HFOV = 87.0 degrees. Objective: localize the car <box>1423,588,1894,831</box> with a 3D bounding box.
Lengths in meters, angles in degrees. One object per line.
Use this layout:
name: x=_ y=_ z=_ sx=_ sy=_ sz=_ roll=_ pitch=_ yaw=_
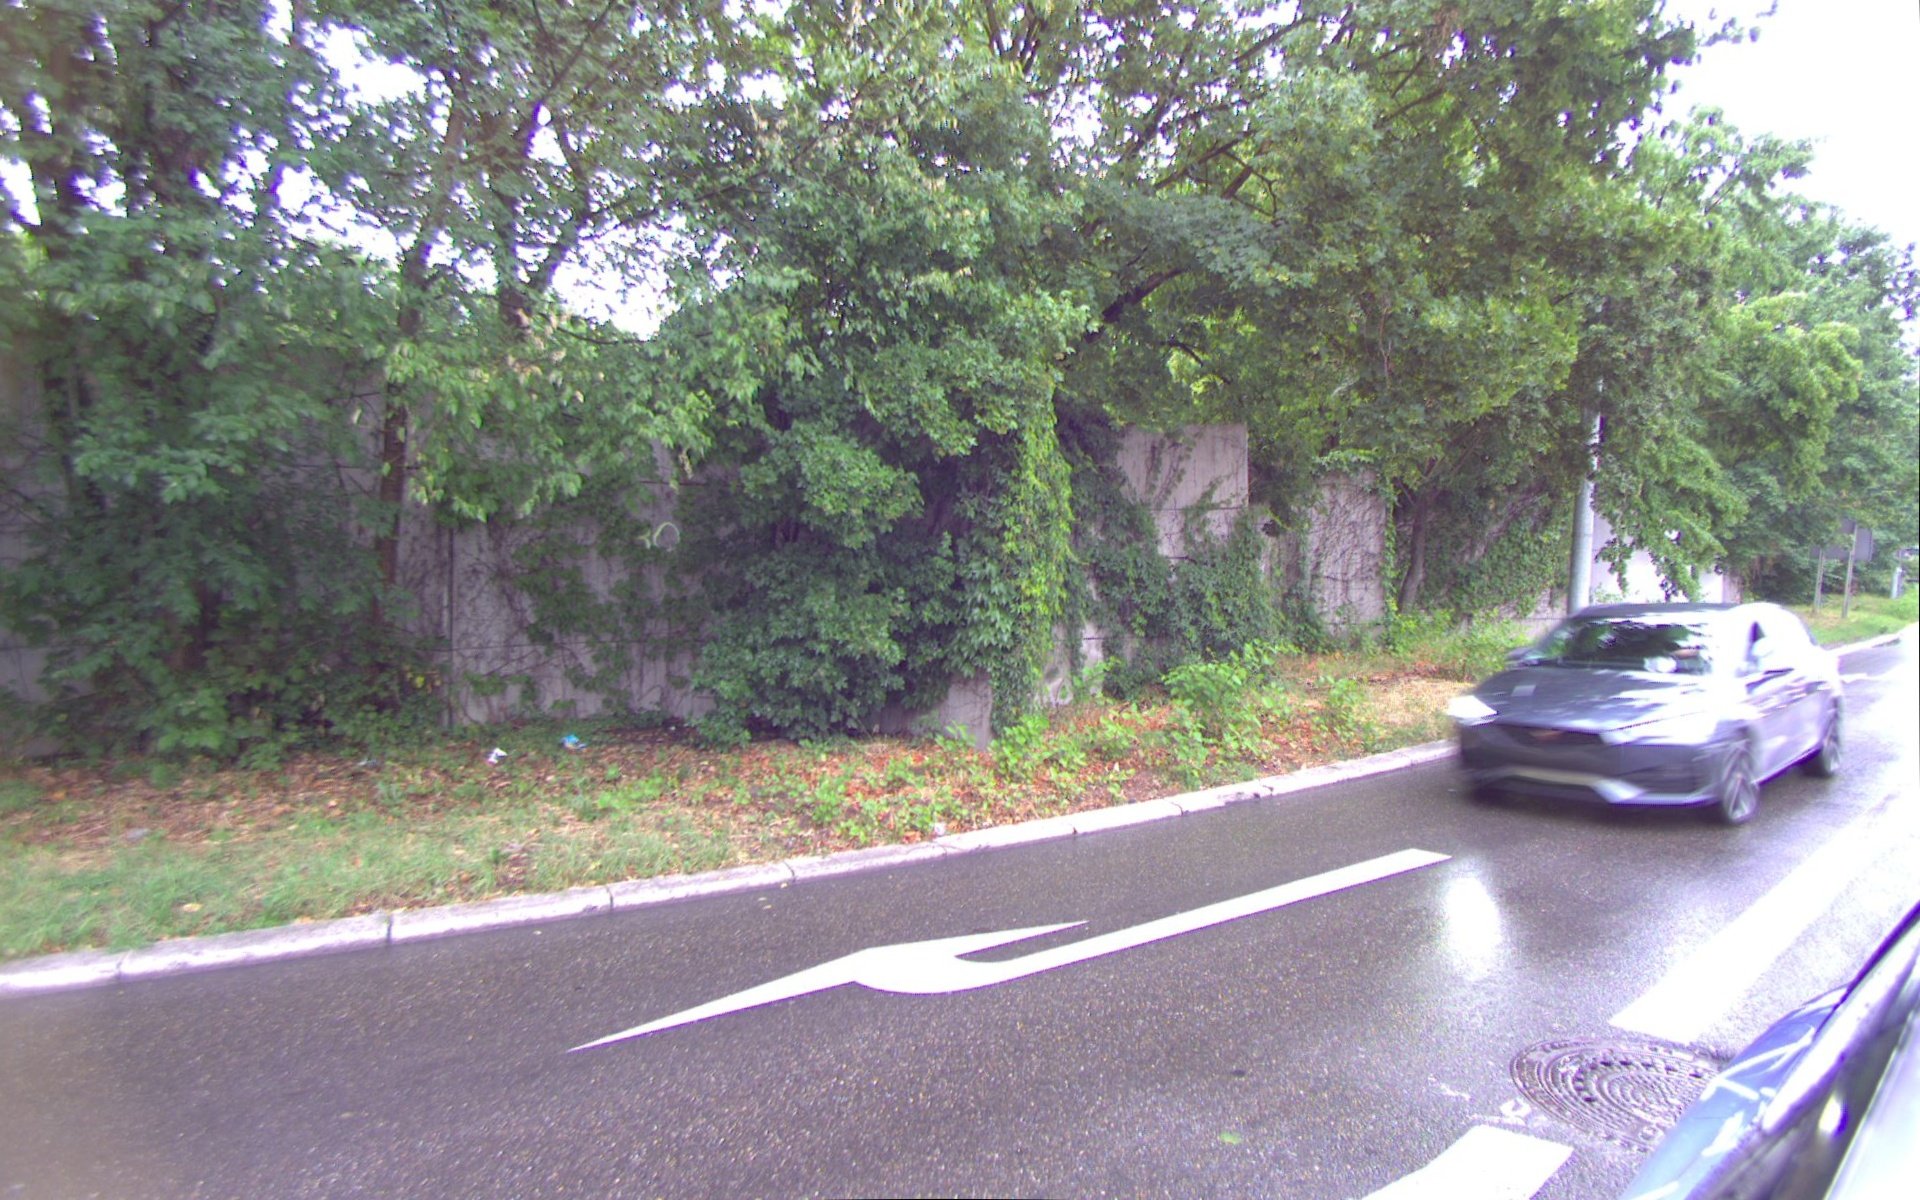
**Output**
car: x=5.626 y=0.669 z=7.951 sx=4.331 sy=1.421 sz=1.753 roll=1 pitch=-1 yaw=-37
